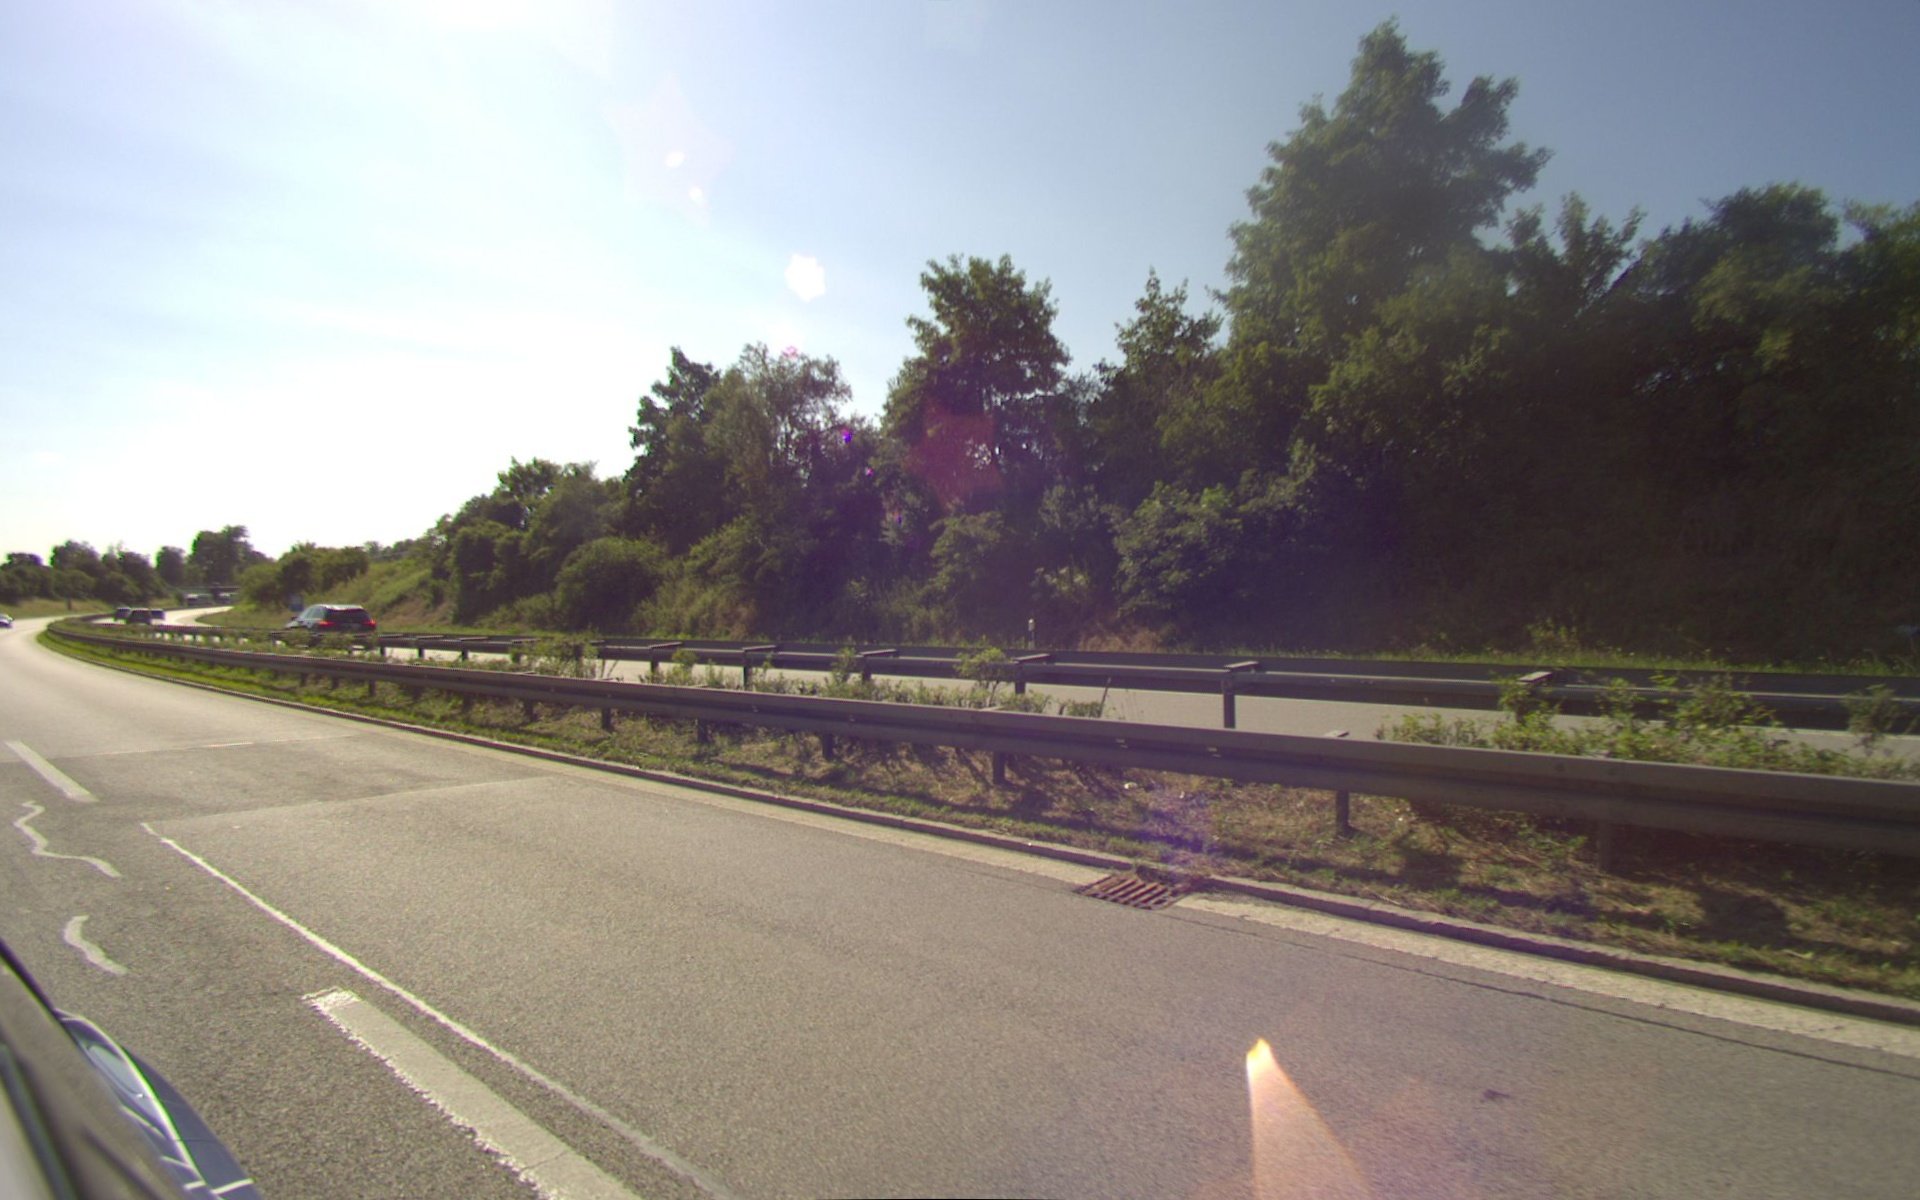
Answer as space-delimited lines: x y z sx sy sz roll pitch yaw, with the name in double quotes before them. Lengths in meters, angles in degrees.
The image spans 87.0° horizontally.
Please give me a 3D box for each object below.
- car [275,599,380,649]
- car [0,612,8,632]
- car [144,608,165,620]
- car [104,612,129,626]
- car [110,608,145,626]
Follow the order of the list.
"car" -20.649 0.730 32.956 4.906 1.465 1.627 0 1 42
"car" -100.508 2.336 105.325 1.971 2.028 4.602 -3 2 -44
"car" -107.054 1.830 134.537 1.798 1.491 4.690 -1 0 -43
"car" -104.305 2.318 125.135 2.044 1.692 4.890 1 -2 -44
"car" -78.063 1.581 94.887 4.435 1.664 1.971 -1 -1 44
